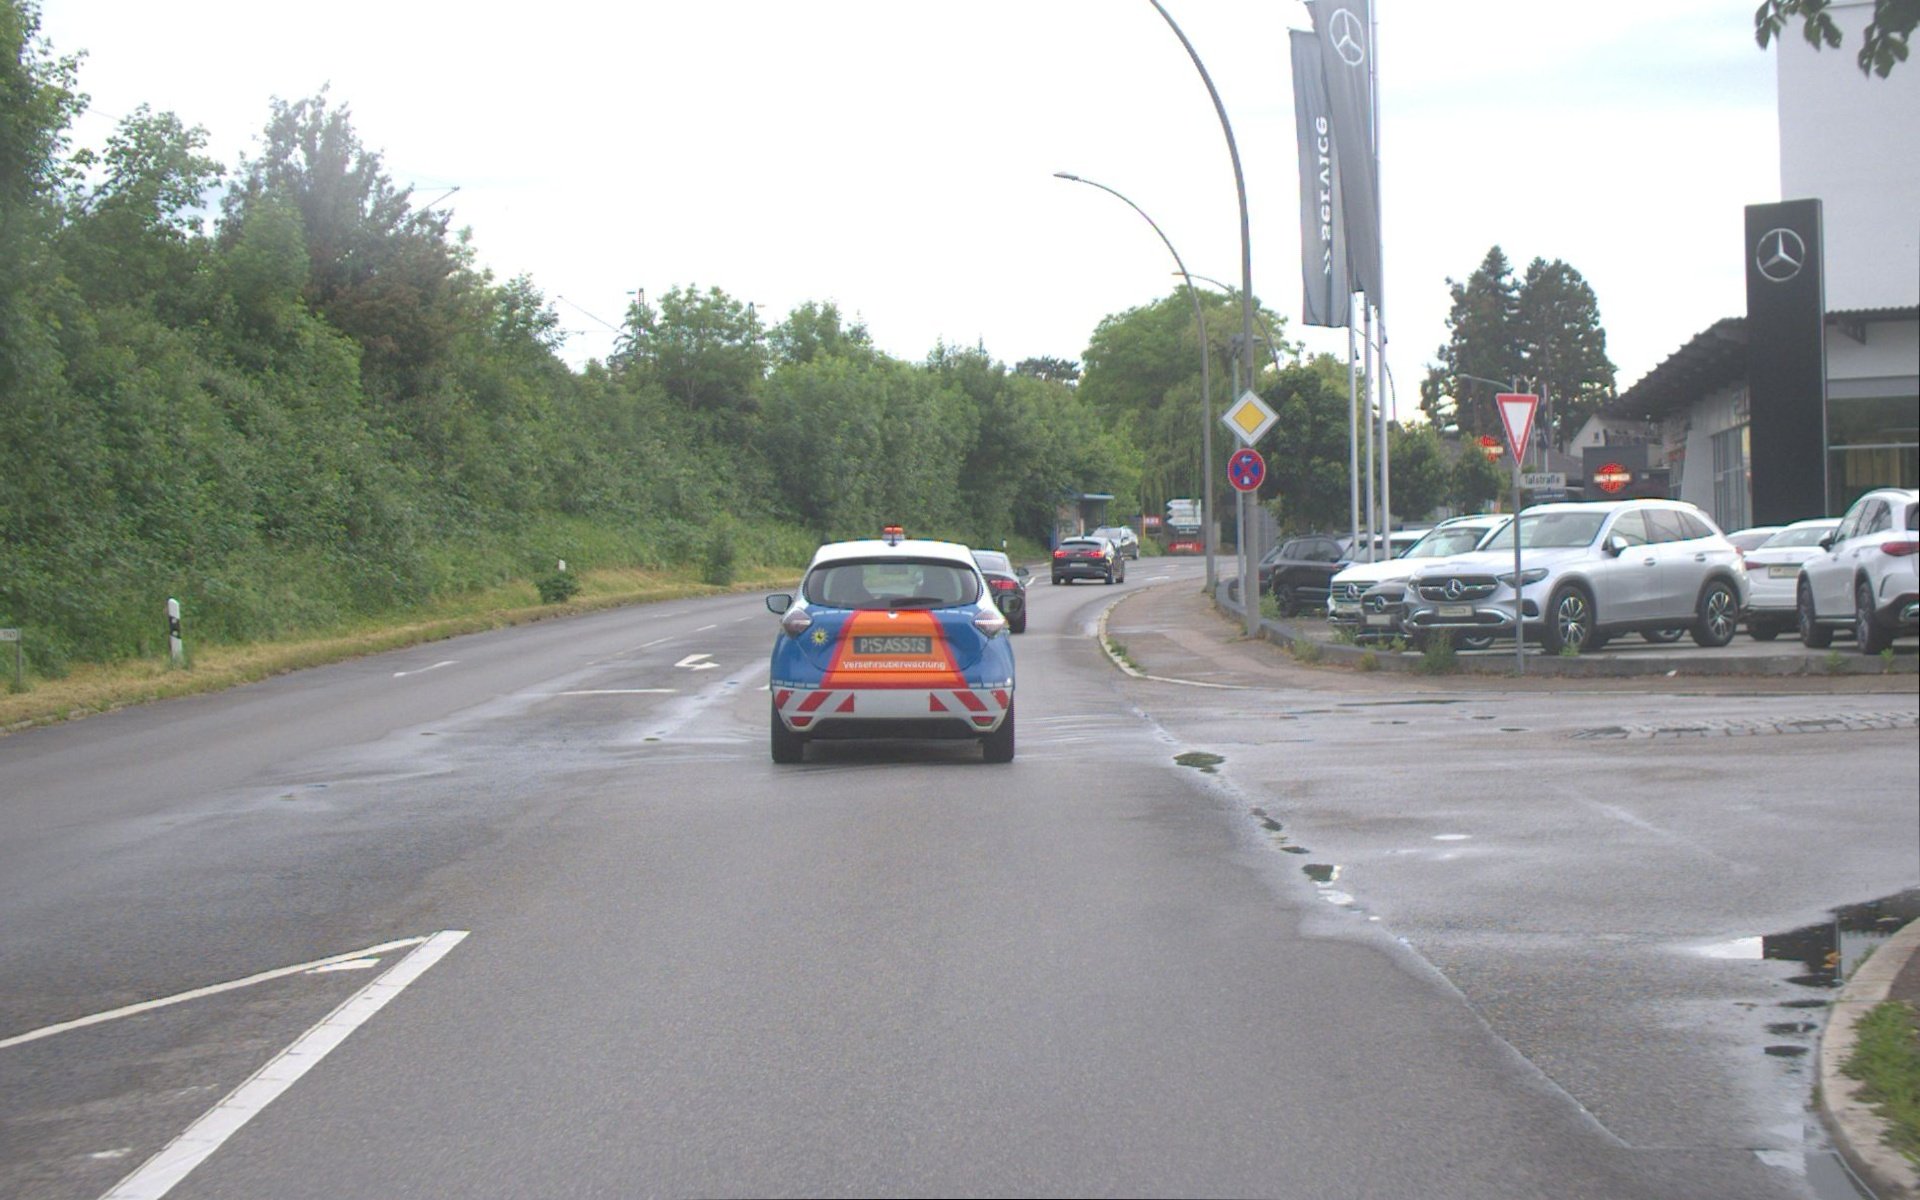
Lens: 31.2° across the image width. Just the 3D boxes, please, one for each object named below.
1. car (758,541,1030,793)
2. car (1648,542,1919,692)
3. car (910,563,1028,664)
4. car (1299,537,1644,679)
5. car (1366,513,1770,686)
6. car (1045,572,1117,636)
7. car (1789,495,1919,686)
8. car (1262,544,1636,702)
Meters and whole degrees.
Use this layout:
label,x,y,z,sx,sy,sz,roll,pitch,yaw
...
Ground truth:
label,x,y,z,sx,sy,sz,roll,pitch,yaw
car,-0.471,0.473,25.226,1.806,1.662,3.856,2,-1,-1
car,10.505,0.188,42.222,1.930,1.745,4.607,1,1,42
car,0.186,0.238,57.480,1.694,1.590,3.855,1,-1,4
car,6.790,0.151,45.419,4.604,1.745,1.807,2,-2,-37
car,6.718,0.024,37.683,4.606,1.745,2.034,2,-1,-45
car,3.584,0.133,101.463,1.694,1.784,3.854,1,-1,8
car,9.831,-0.046,35.045,1.826,1.823,4.263,1,-1,2
car,5.856,0.323,40.834,4.606,1.745,2.034,2,-3,-45
